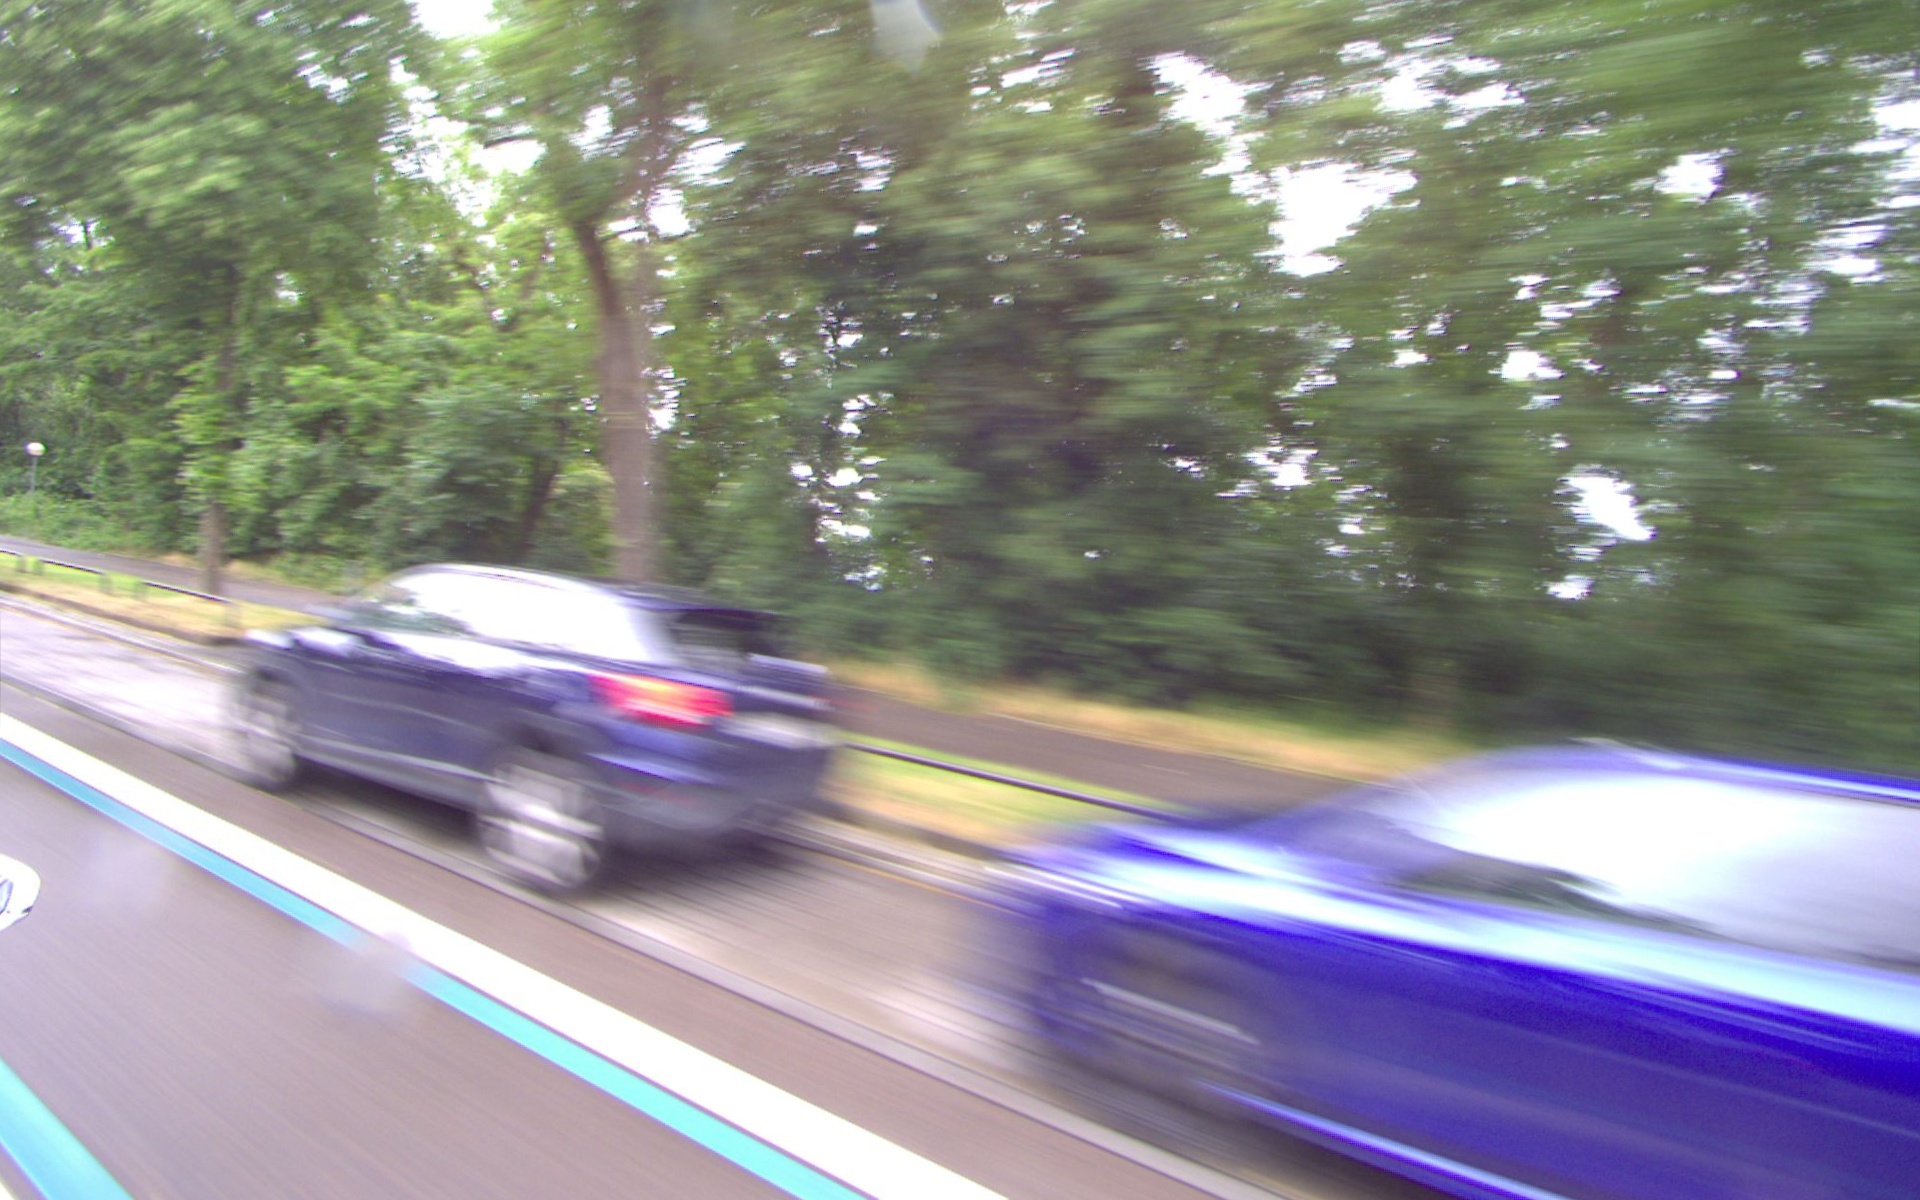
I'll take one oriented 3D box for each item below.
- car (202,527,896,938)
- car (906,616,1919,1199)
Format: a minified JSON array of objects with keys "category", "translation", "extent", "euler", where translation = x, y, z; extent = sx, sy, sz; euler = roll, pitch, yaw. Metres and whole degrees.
[{"category":"car","translation":[-2.553,0.567,6.028],"extent":[3.909,1.530,1.716],"euler":[6,-1,31]},{"category":"car","translation":[2.127,1.091,3.144],"extent":[4.246,1.499,1.685],"euler":[7,-2,31]}]
